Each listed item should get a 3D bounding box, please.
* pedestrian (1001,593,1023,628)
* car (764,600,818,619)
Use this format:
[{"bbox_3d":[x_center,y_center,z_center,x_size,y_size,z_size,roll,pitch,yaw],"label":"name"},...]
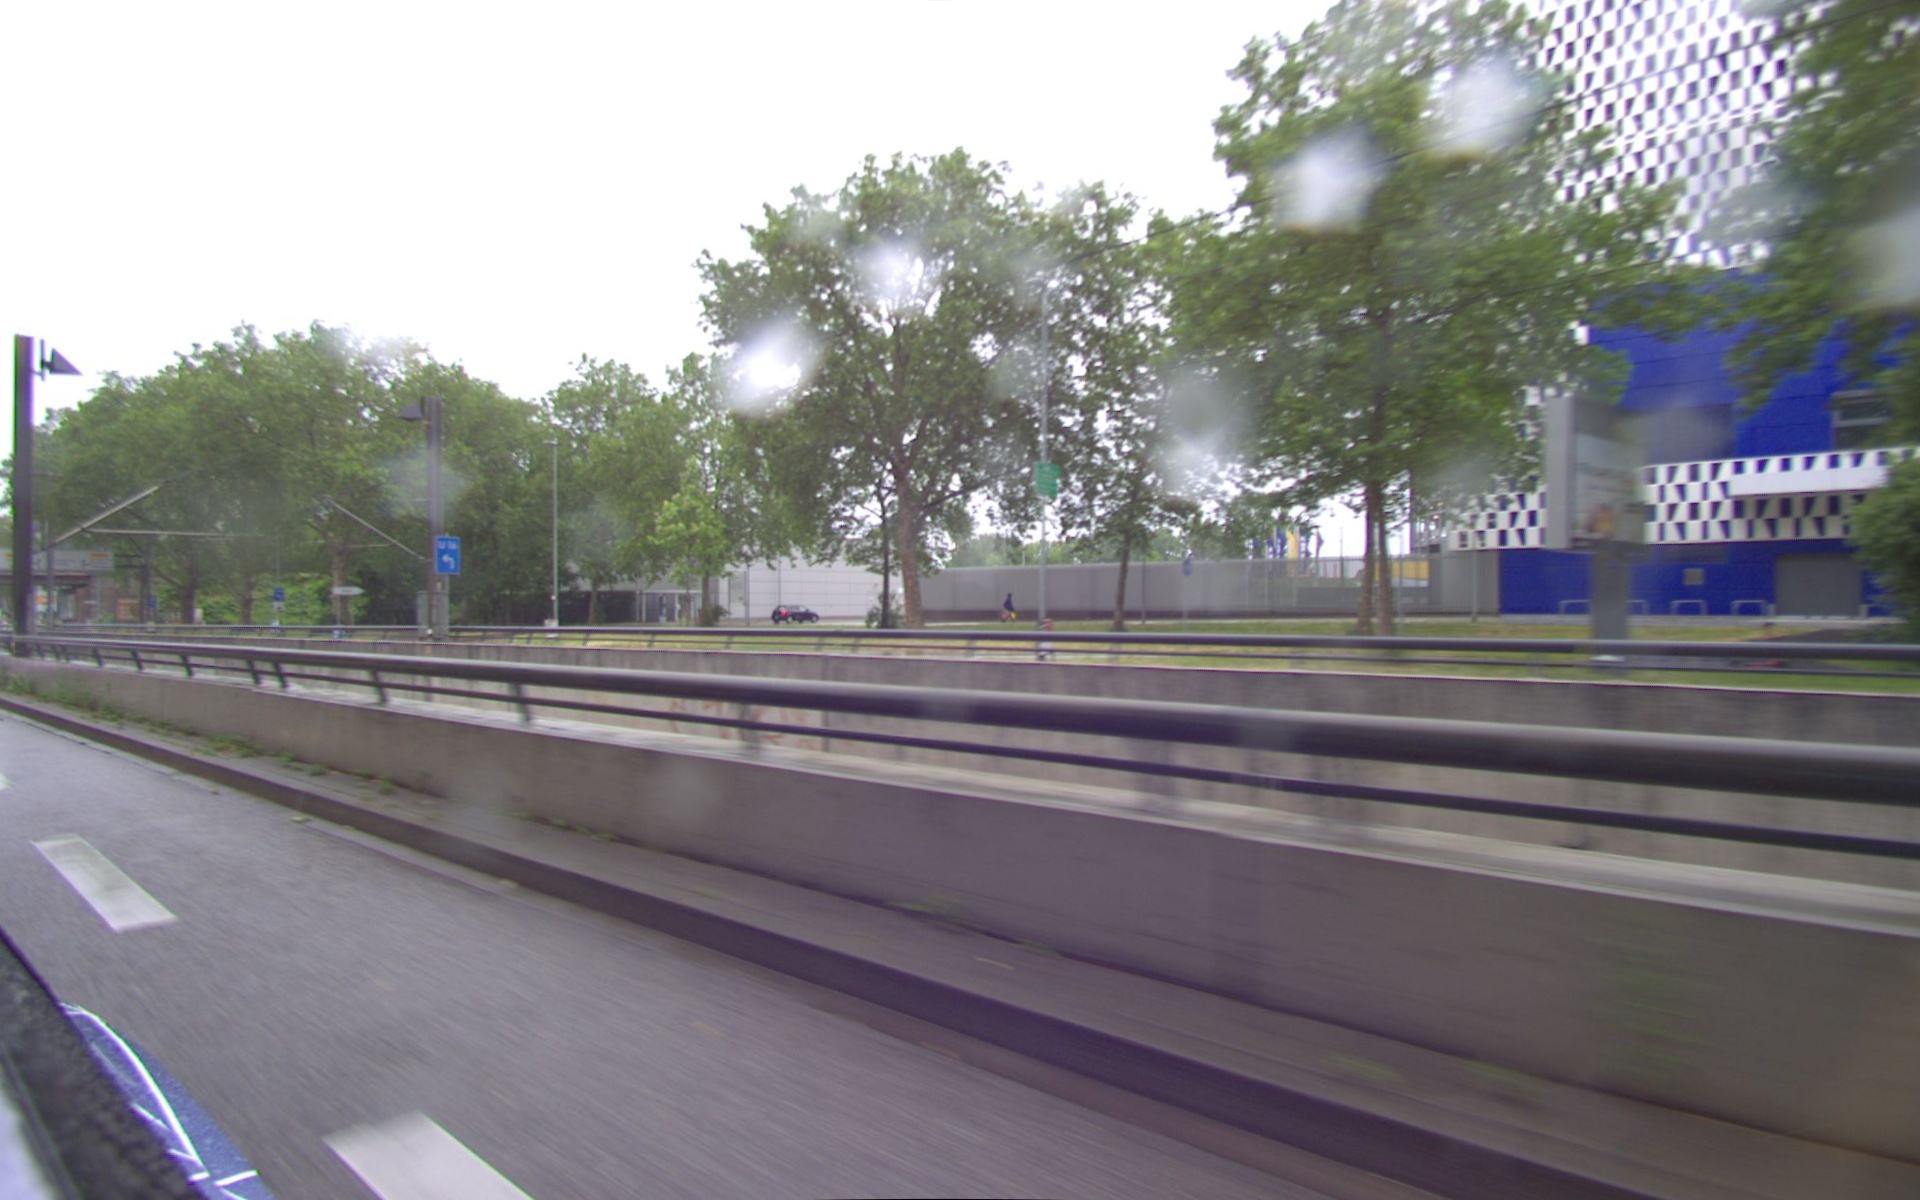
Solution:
[{"bbox_3d":[3.027,0.624,59.333,0.789,2.029,0.991,-1,1,41],"label":"pedestrian"},{"bbox_3d":[-13.166,0.743,78.956,2.001,1.414,3.738,-1,-1,45],"label":"car"}]
